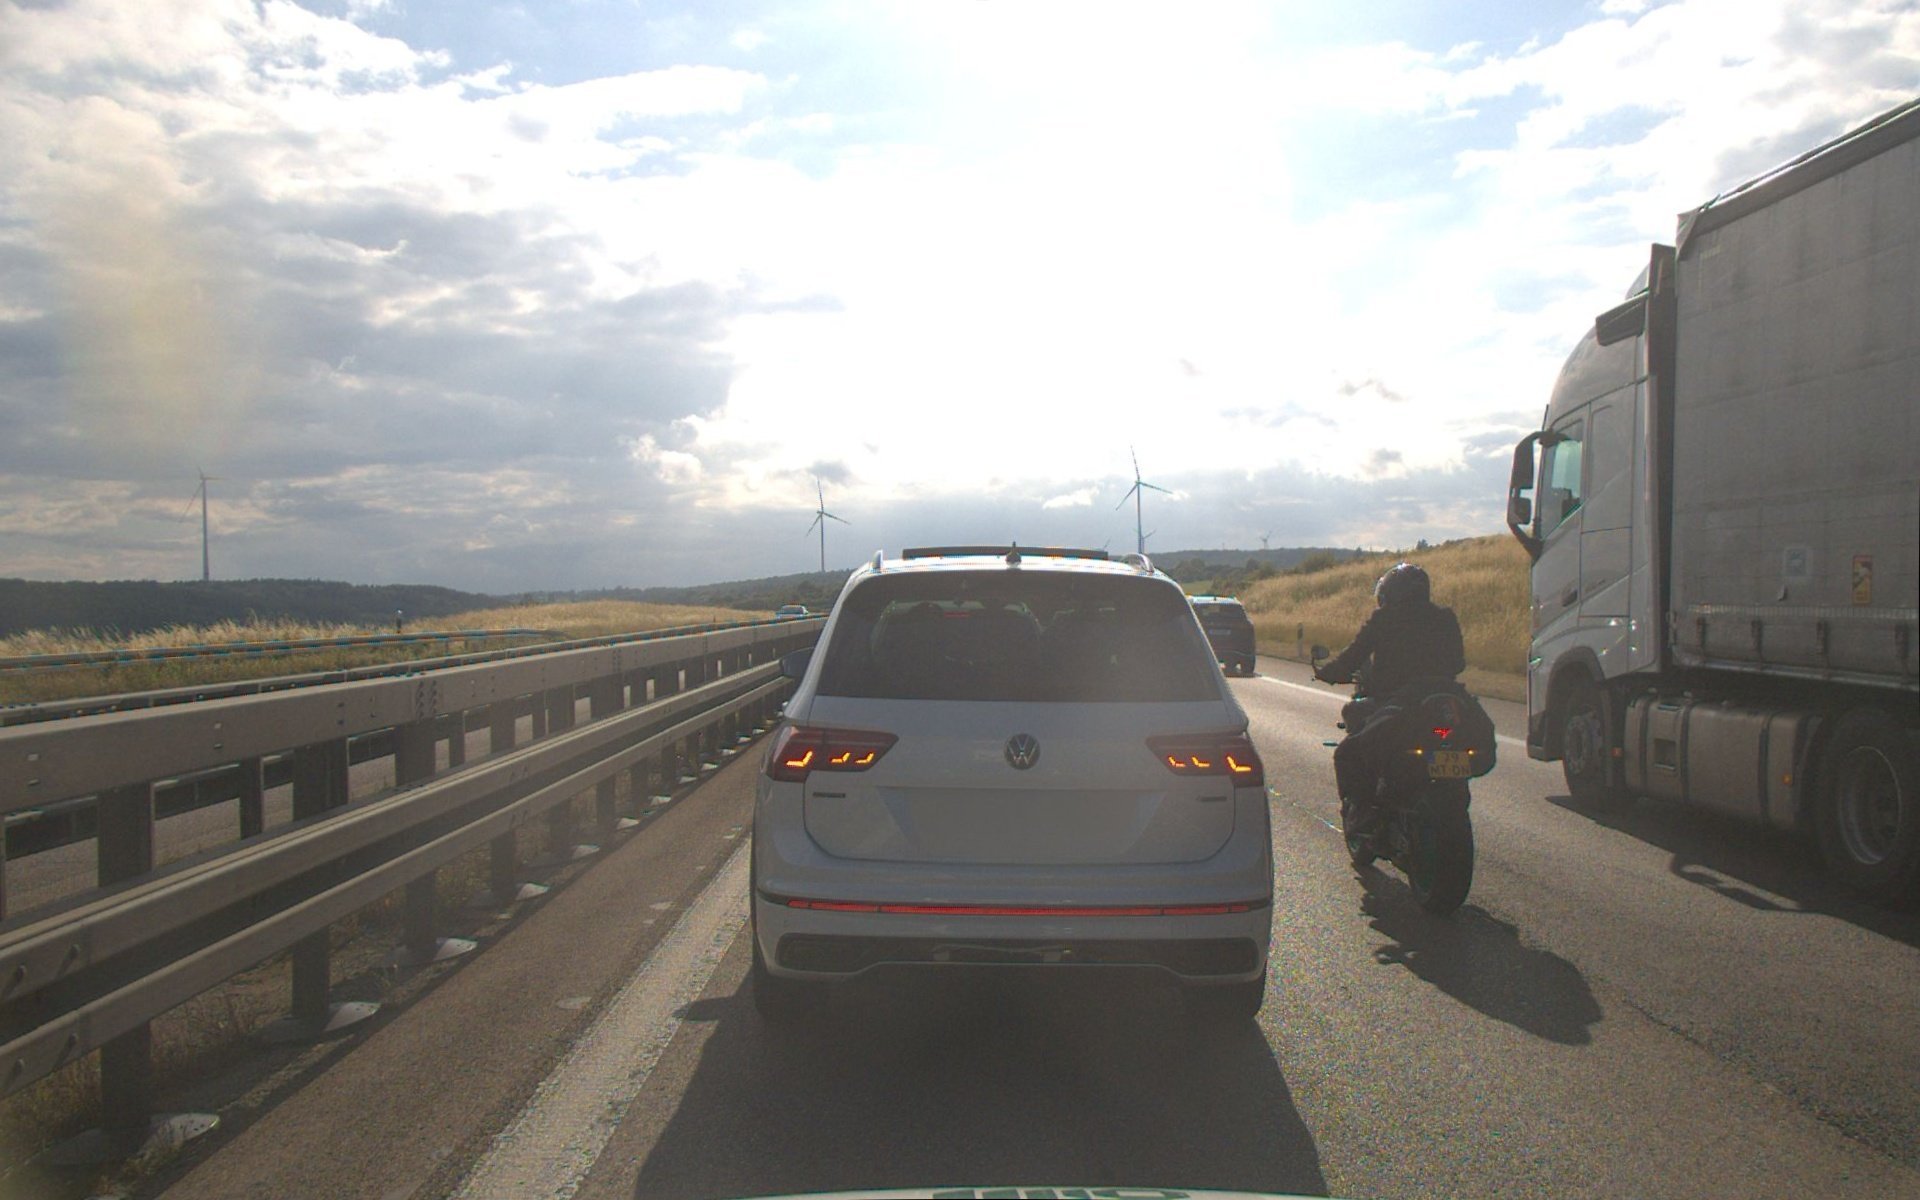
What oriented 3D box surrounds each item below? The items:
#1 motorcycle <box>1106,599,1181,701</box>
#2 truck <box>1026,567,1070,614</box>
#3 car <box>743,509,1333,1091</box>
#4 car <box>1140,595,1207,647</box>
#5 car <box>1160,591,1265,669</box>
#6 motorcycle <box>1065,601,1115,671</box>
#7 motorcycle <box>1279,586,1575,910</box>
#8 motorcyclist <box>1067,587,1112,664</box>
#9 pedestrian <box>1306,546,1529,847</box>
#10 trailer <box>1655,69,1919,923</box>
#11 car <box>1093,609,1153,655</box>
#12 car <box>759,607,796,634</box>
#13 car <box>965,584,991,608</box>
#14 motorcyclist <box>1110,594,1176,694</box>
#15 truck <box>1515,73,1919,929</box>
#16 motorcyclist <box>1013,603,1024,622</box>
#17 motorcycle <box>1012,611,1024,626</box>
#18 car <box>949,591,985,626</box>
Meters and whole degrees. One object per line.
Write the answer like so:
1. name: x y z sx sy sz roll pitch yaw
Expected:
1. motorcycle: 2.749 0.732 24.980 0.877 1.481 1.982 0 0 -1
2. truck: 7.024 -0.771 133.203 3.118 3.656 11.132 0 0 1
3. car: 0.209 0.599 6.869 1.734 1.705 3.999 0 0 -1
4. car: 6.149 0.597 47.963 1.572 1.445 3.673 0 0 2
5. car: 5.740 0.665 38.064 1.783 1.629 4.235 2 0 1
6. motorcycle: 2.819 0.766 36.118 0.877 1.481 2.268 0 0 -1
7. motorcycle: 2.365 0.686 8.730 0.877 1.481 2.268 0 0 -1
8. motorcyclist: 2.815 0.549 36.103 0.877 1.645 1.022 0 -1 -1
9. pedestrian: 2.360 0.480 8.645 0.877 1.481 0.983 0 -1 -1
10. trailer: 6.013 -0.491 4.009 2.564 4.111 13.694 0 0 -2
11. car: 5.691 1.096 58.208 1.669 1.573 3.999 0 0 -1
12. car: -10.346 1.136 93.728 1.697 1.511 3.999 0 0 -1
13. car: 1.183 -0.275 110.098 1.669 1.573 3.999 0 0 -1
14. motorcyclist: 2.753 0.655 24.895 0.877 1.481 0.892 0 -1 -2
15. truck: 5.837 -0.479 10.385 2.548 4.111 6.118 0 0 -1
16. motorcyclist: 4.848 1.040 137.579 0.832 1.587 0.934 0 -1 -1
17. motorcycle: 4.853 1.516 137.620 0.877 1.211 2.256 0 0 -1
18. car: 0.336 0.406 80.113 1.669 1.679 3.999 0 0 -1
